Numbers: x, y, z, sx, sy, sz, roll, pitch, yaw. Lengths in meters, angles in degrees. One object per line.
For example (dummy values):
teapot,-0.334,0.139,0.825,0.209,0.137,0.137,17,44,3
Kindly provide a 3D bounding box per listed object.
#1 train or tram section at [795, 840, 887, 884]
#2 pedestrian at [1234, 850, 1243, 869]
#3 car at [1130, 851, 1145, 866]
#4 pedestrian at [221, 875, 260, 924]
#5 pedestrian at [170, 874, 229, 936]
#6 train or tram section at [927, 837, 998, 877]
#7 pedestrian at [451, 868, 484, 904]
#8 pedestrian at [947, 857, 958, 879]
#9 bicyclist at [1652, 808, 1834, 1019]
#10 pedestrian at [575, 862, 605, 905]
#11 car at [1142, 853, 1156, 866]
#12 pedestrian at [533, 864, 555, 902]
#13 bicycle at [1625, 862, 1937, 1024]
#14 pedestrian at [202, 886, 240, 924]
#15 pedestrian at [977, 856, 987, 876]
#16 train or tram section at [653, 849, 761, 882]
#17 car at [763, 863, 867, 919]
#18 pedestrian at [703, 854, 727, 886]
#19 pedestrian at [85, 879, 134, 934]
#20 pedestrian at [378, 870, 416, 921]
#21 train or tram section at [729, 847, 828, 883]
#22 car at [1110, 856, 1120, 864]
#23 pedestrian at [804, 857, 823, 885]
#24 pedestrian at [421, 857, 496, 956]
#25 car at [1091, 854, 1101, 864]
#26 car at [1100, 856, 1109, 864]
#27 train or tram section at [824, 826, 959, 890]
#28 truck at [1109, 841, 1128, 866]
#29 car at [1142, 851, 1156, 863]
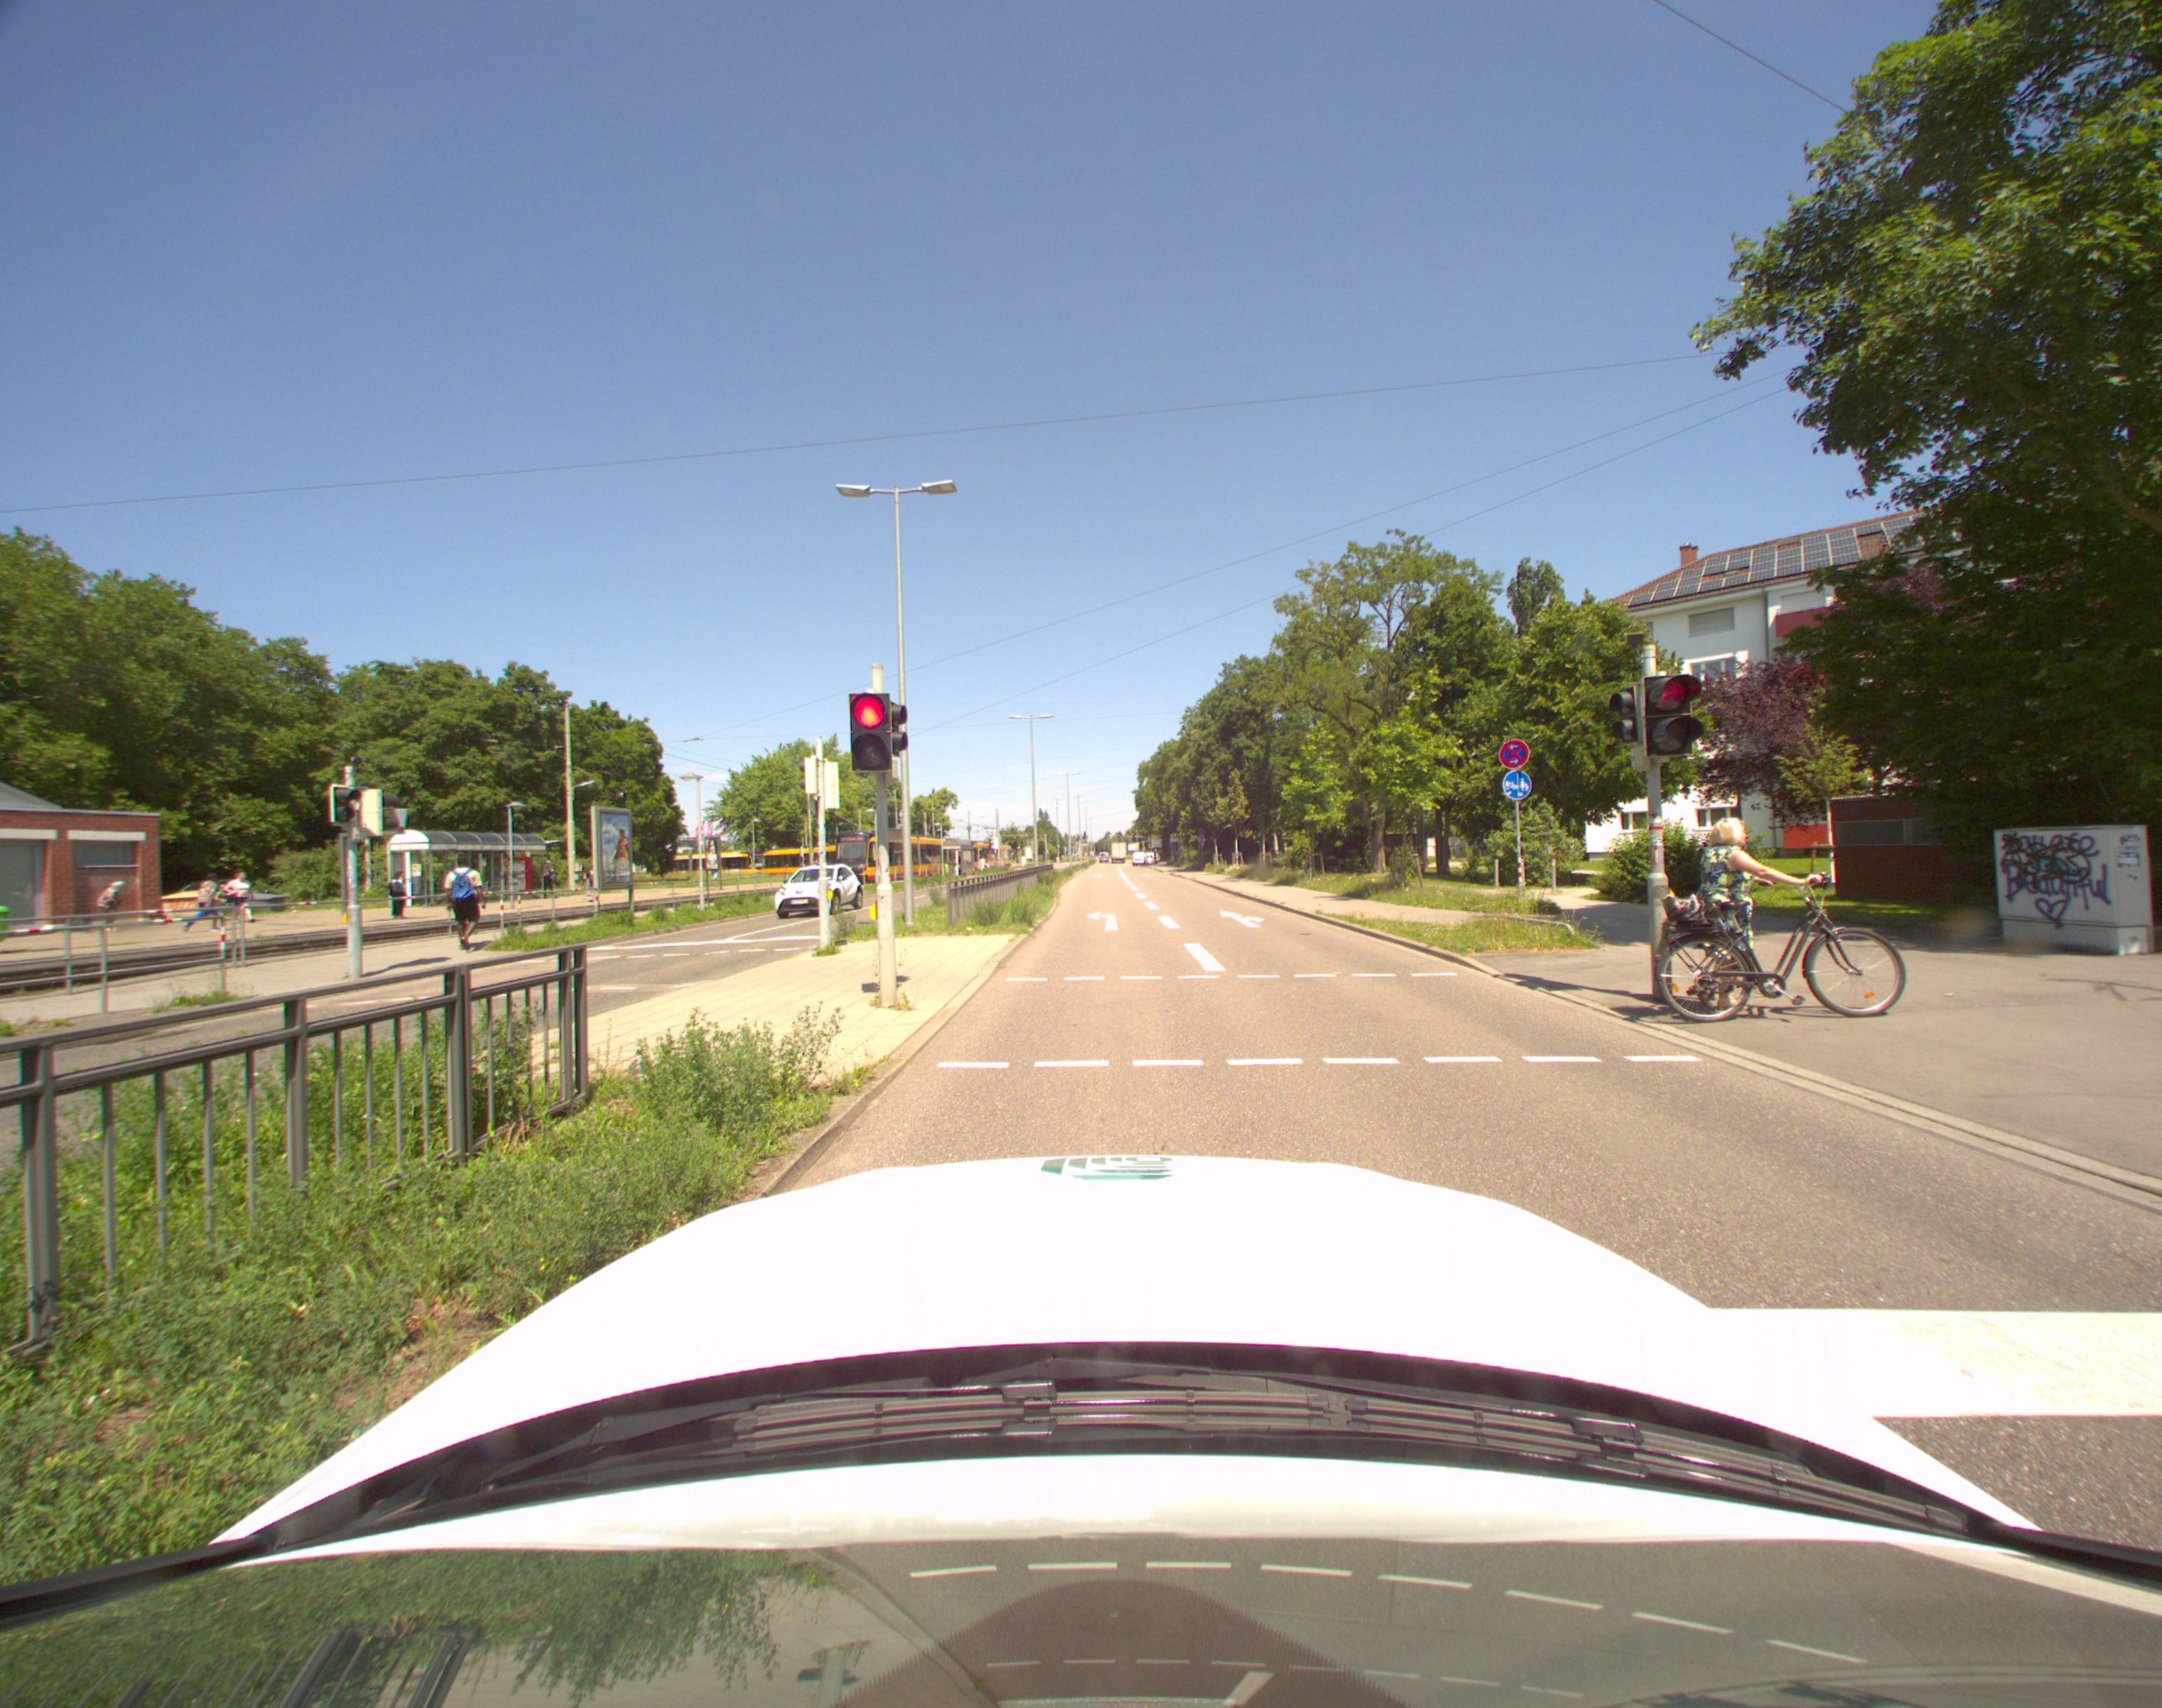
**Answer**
train or tram section,-24.453,0.872,81.740,3.239,3.931,18.301,-1,0,-35
pedestrian,12.506,0.447,64.748,0.600,1.438,0.557,-2,0,8
car,7.295,0.555,105.535,1.773,1.903,4.002,-2,0,2
pedestrian,-25.656,1.375,24.864,0.634,1.456,0.585,-2,0,16
pedestrian,-23.653,1.349,21.872,0.669,1.590,0.808,-2,0,1
train or tram section,-13.084,0.298,95.144,2.921,3.789,33.090,-2,0,1
pedestrian,-26.282,1.373,34.891,0.836,1.511,0.723,-2,0,12
pedestrian,-10.980,1.197,69.724,0.783,1.868,0.818,-2,0,1
bicyclist,5.618,0.492,6.956,0.953,1.667,0.581,-4,-1,4
pedestrian,-21.215,1.251,35.179,0.715,1.777,0.843,3,2,1
car,9.384,0.711,112.417,1.773,1.668,4.002,-2,0,2
pedestrian,-25.570,1.377,38.788,0.725,1.800,0.835,-1,0,-41
bicycle,5.706,0.712,6.714,1.948,1.161,0.542,-4,-1,4
pedestrian,-26.693,1.575,25.278,0.634,1.124,0.572,-2,0,16
pedestrian,-10.205,1.236,83.980,0.812,2.013,0.939,-2,0,1
train or tram section,-48.828,1.598,105.745,18.260,3.931,3.247,-2,0,32
car,-8.118,1.076,25.221,1.838,1.494,3.793,-2,0,2
pedestrian,-22.886,0.992,50.960,0.977,2.013,1.021,-2,0,1
pedestrian,-26.689,1.434,22.381,0.636,1.480,0.570,-2,0,1
pedestrian,-21.541,1.292,25.658,0.635,1.555,0.691,-2,0,-11
train or tram section,-35.784,1.370,95.460,18.267,3.931,3.245,-2,0,44
car,6.483,1.133,153.684,1.804,1.464,4.002,-2,0,2
pedestrian,-19.657,1.249,59.936,0.977,2.013,1.021,-2,0,1
pedestrian,-11.783,0.971,15.442,0.715,1.777,0.843,3,2,1
car,3.321,1.083,175.328,1.986,2.013,4.002,-2,0,2
car,4.554,1.160,158.001,1.804,1.464,4.002,-2,0,2
train or tram section,-13.583,0.238,63.680,2.947,3.749,30.036,-2,0,1
truck,6.772,-0.092,146.188,3.193,4.359,6.563,-2,0,2
car,9.905,0.452,118.758,1.773,1.668,4.002,-2,0,2
